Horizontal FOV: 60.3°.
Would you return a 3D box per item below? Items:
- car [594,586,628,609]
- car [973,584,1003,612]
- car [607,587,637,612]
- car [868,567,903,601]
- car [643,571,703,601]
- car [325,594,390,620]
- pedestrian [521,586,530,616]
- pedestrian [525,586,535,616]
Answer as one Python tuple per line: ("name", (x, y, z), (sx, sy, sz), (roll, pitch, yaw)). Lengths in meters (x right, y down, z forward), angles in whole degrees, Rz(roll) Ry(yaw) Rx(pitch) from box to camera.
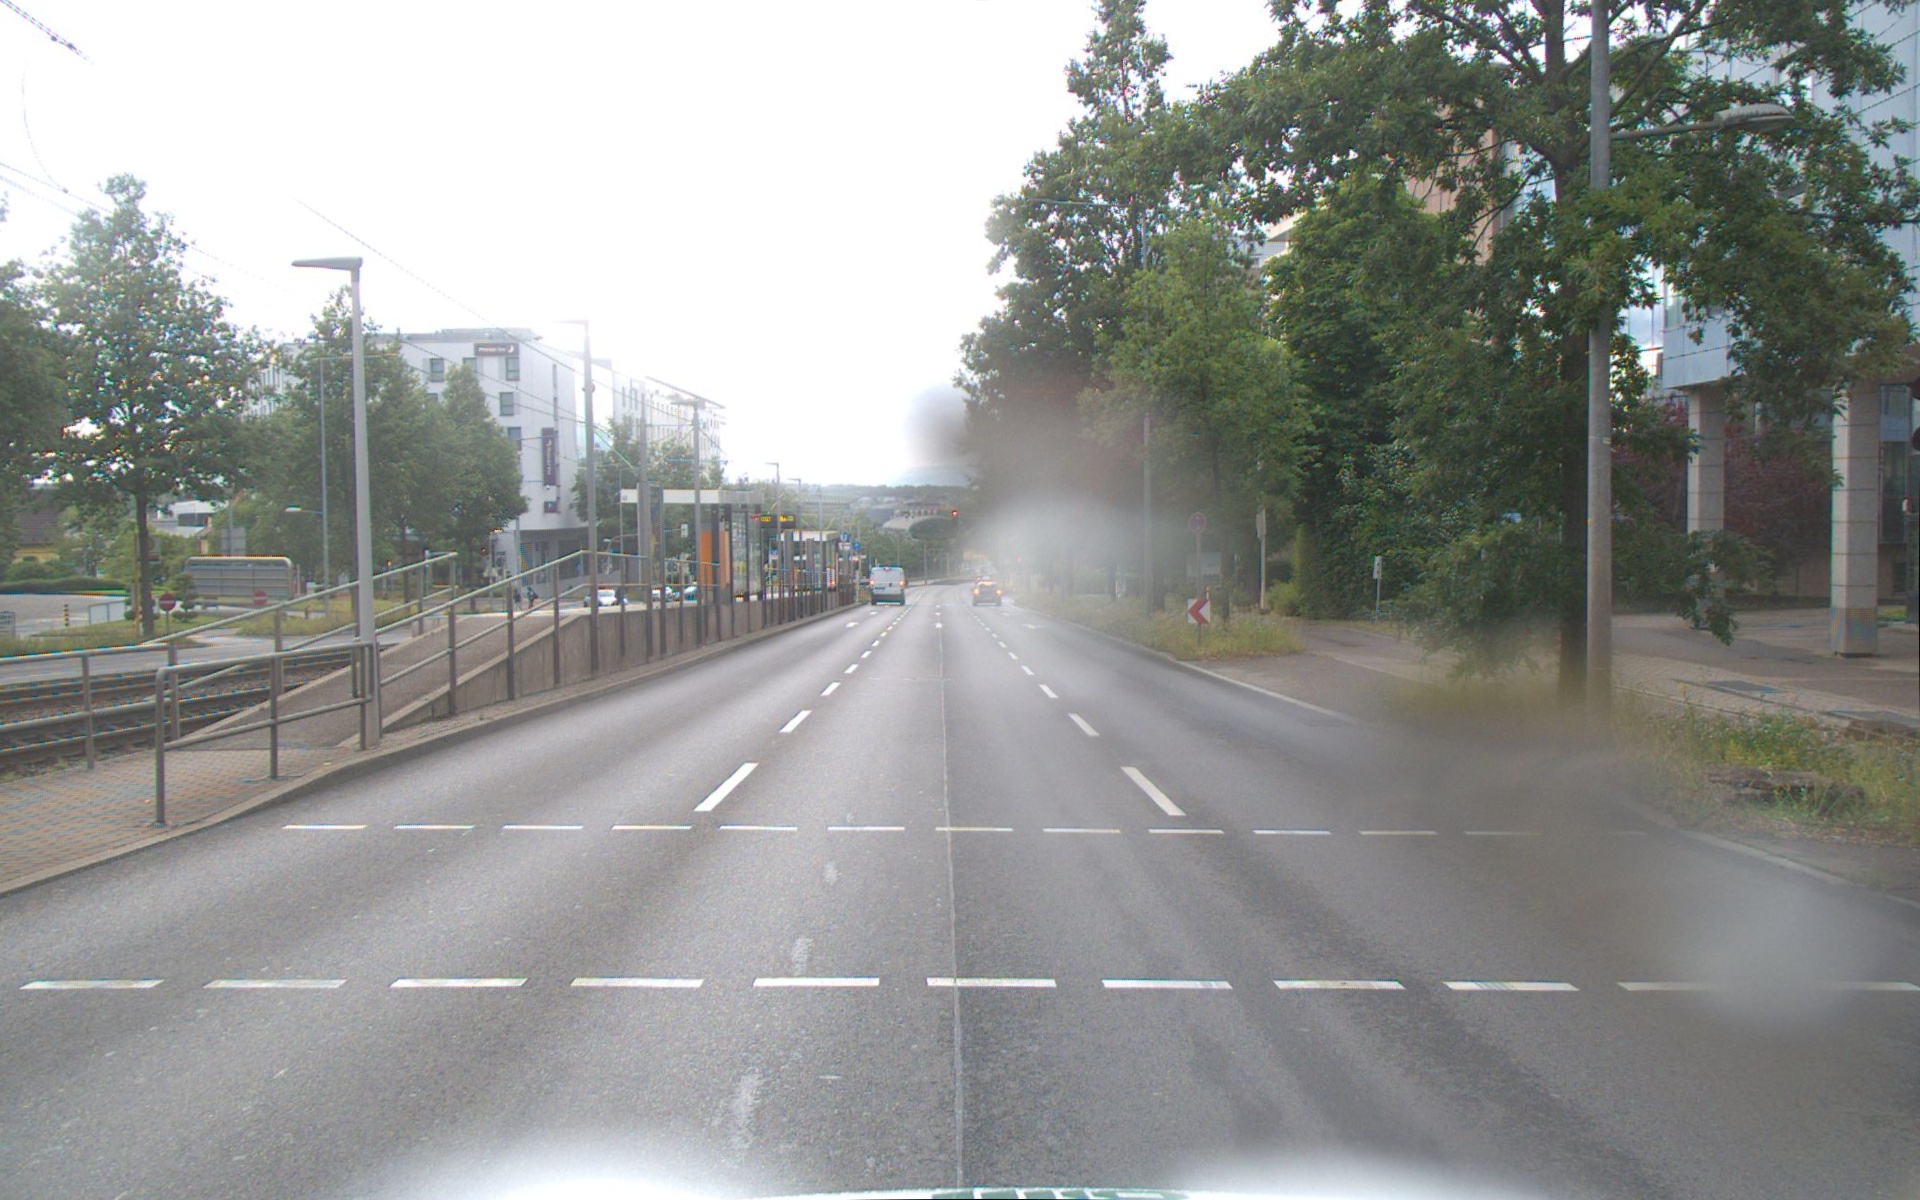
("car", (-23.283, -0.172, 110.168), (1.627, 1.461, 3.856), (-2, 1, -20))
("car", (1.740, -0.132, 102.799), (1.738, 1.720, 3.845), (0, 1, -1))
("car", (-21.207, -0.059, 103.692), (1.622, 1.461, 3.866), (-2, 1, -14))
("car", (-4.572, -0.996, 102.029), (2.050, 2.089, 4.605), (0, 1, -1))
("car", (-20.403, -1.007, 117.746), (1.728, 2.049, 3.976), (0, 1, 42))
("car", (-34.883, 0.400, 95.748), (3.297, 1.411, 1.434), (0, 1, 16))
("pedestrian", (-28.043, 0.073, 106.676), (0.465, 1.954, 0.490), (0, 0, -1))
("pedestrian", (-27.557, 0.074, 106.021), (0.465, 1.954, 0.490), (0, 0, -1))
